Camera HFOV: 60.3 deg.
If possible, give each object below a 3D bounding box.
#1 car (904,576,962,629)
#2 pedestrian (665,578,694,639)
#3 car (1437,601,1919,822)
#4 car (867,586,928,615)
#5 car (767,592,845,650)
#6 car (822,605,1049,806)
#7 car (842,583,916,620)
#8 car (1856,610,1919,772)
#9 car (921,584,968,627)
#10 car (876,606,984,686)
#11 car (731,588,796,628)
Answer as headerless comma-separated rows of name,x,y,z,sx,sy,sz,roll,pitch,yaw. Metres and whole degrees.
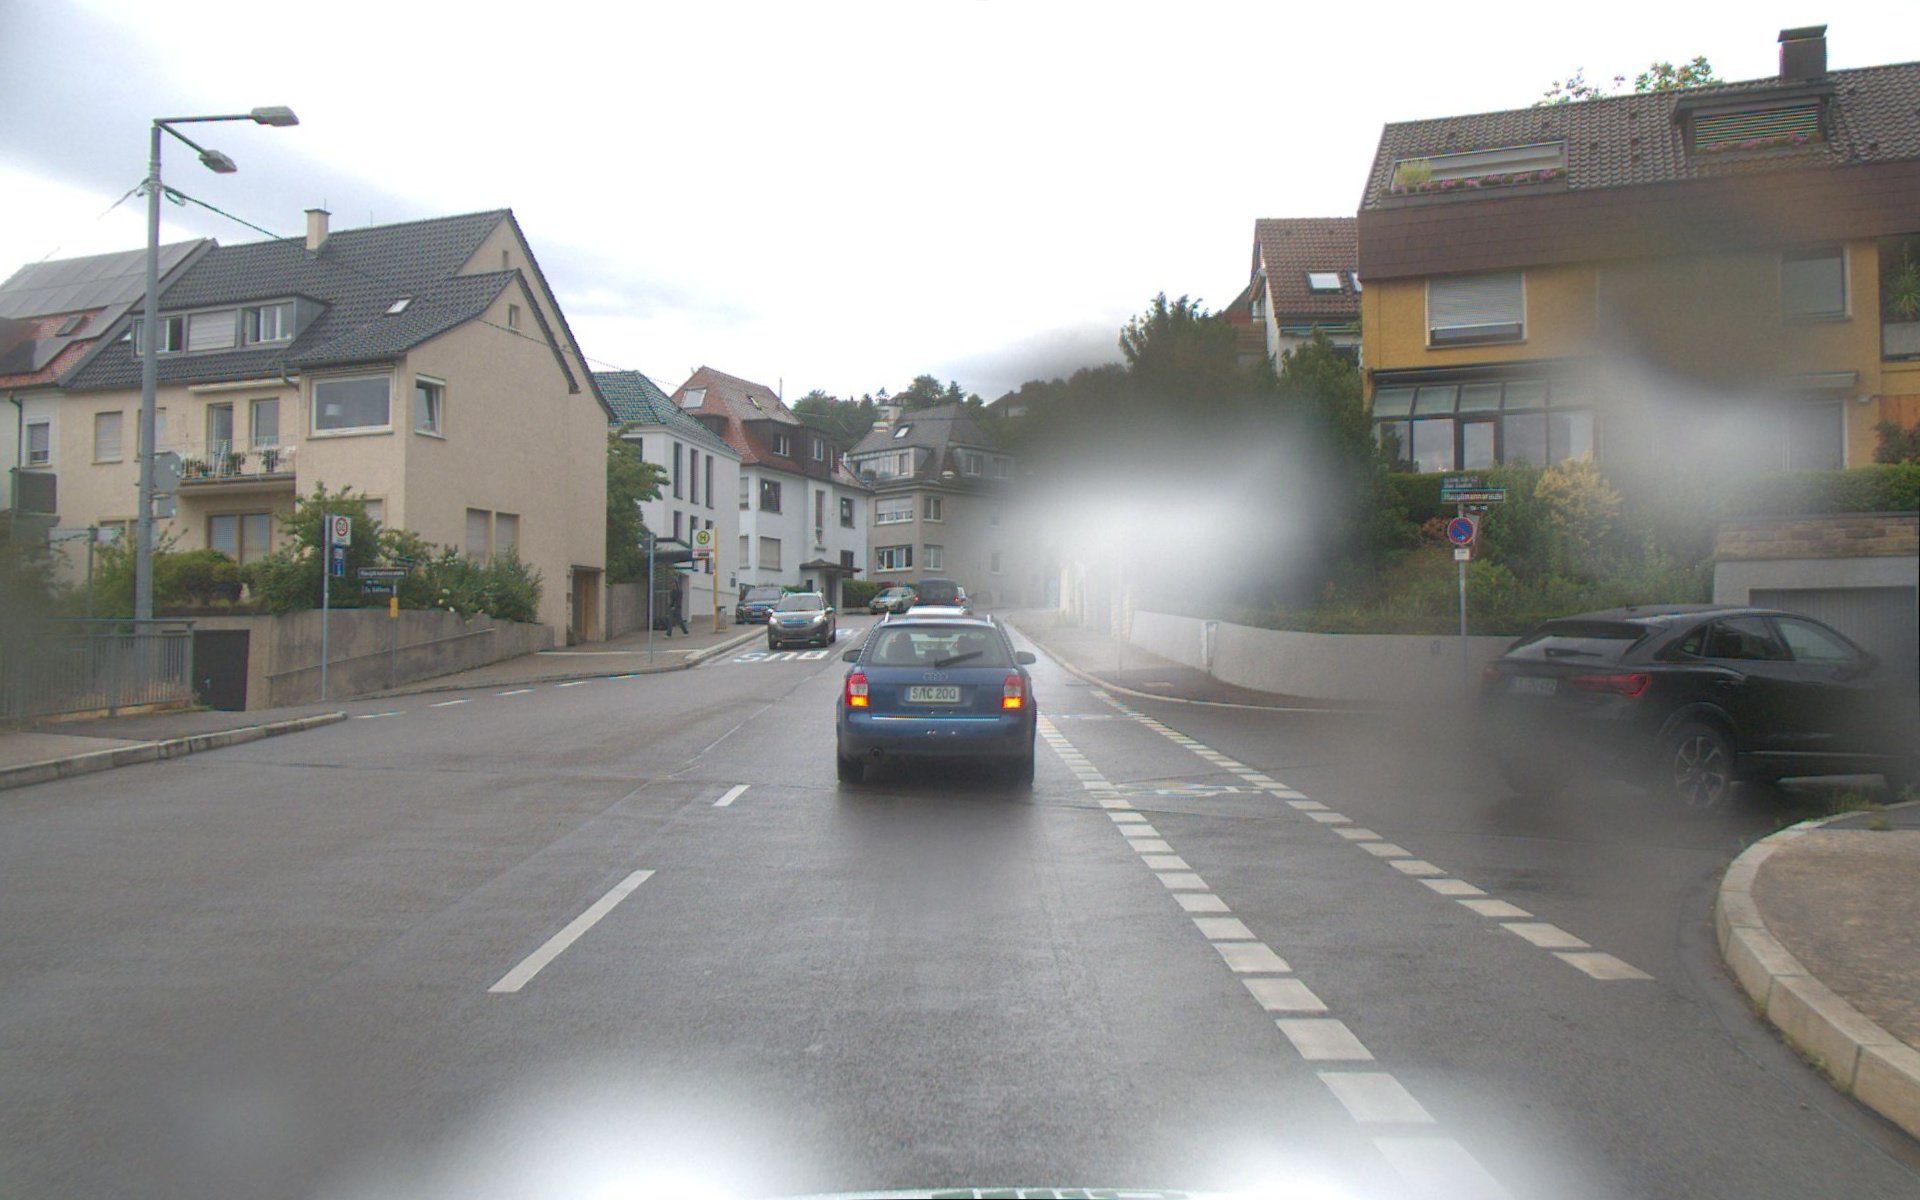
car,-0.929,0.081,57.217,1.889,1.735,3.999,-1,0,-1
pedestrian,-8.788,0.273,51.880,0.770,1.889,0.728,1,0,-1
car,6.186,0.793,13.489,4.133,1.549,1.985,0,0,-24
car,-3.449,-0.002,91.531,1.798,1.450,4.230,-2,0,21
car,-4.461,0.600,48.328,1.697,1.572,4.001,-2,0,3
car,-0.192,0.842,15.159,1.774,1.464,4.082,1,1,0
car,-4.927,0.073,100.625,3.911,1.854,1.998,-6,-2,28
car,10.549,0.816,15.381,3.986,1.450,1.789,0,-1,-22
car,-0.677,0.207,70.466,1.889,1.735,3.999,-1,0,-1
car,-0.634,0.841,31.331,1.776,1.384,3.996,1,-1,-5
car,-7.779,0.297,65.956,1.791,1.511,4.993,-1,0,2
